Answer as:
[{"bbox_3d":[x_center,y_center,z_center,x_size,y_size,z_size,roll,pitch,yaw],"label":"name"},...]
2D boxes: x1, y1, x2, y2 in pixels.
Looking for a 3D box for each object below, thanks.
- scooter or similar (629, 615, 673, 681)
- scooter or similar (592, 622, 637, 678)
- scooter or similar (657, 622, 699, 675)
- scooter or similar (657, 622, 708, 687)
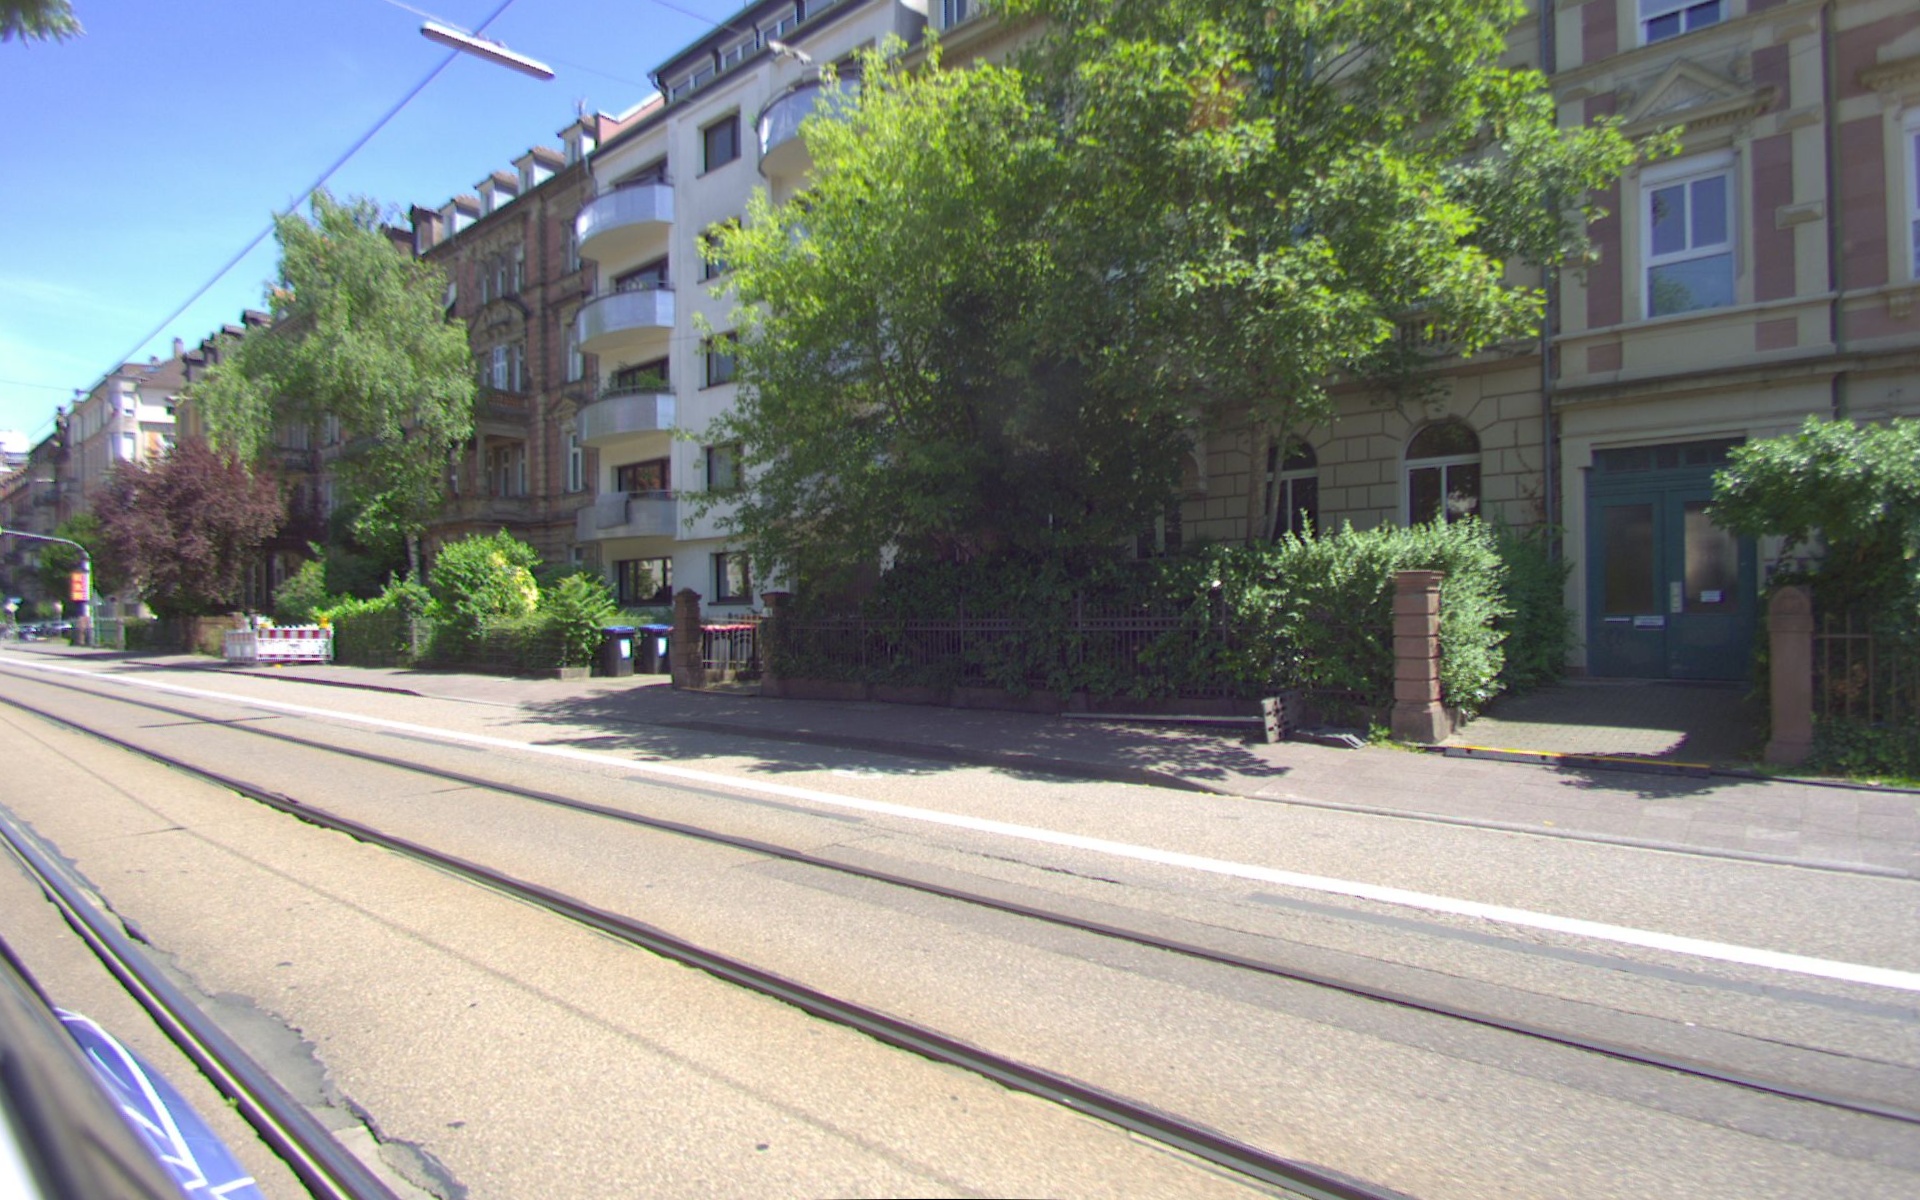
[{"bbox_3d":[-6.779,1.035,22.203,0.692,1.410,0.610,-1,-1,31],"label":"scooter or similar"},{"bbox_3d":[-7.382,1.061,21.638,0.692,1.166,0.610,-1,-1,31],"label":"scooter or similar"},{"bbox_3d":[-6.336,1.079,22.757,0.692,1.166,0.610,-1,-1,31],"label":"scooter or similar"},{"bbox_3d":[-5.119,0.991,18.696,0.694,1.166,0.609,-1,-1,38],"label":"scooter or similar"}]
